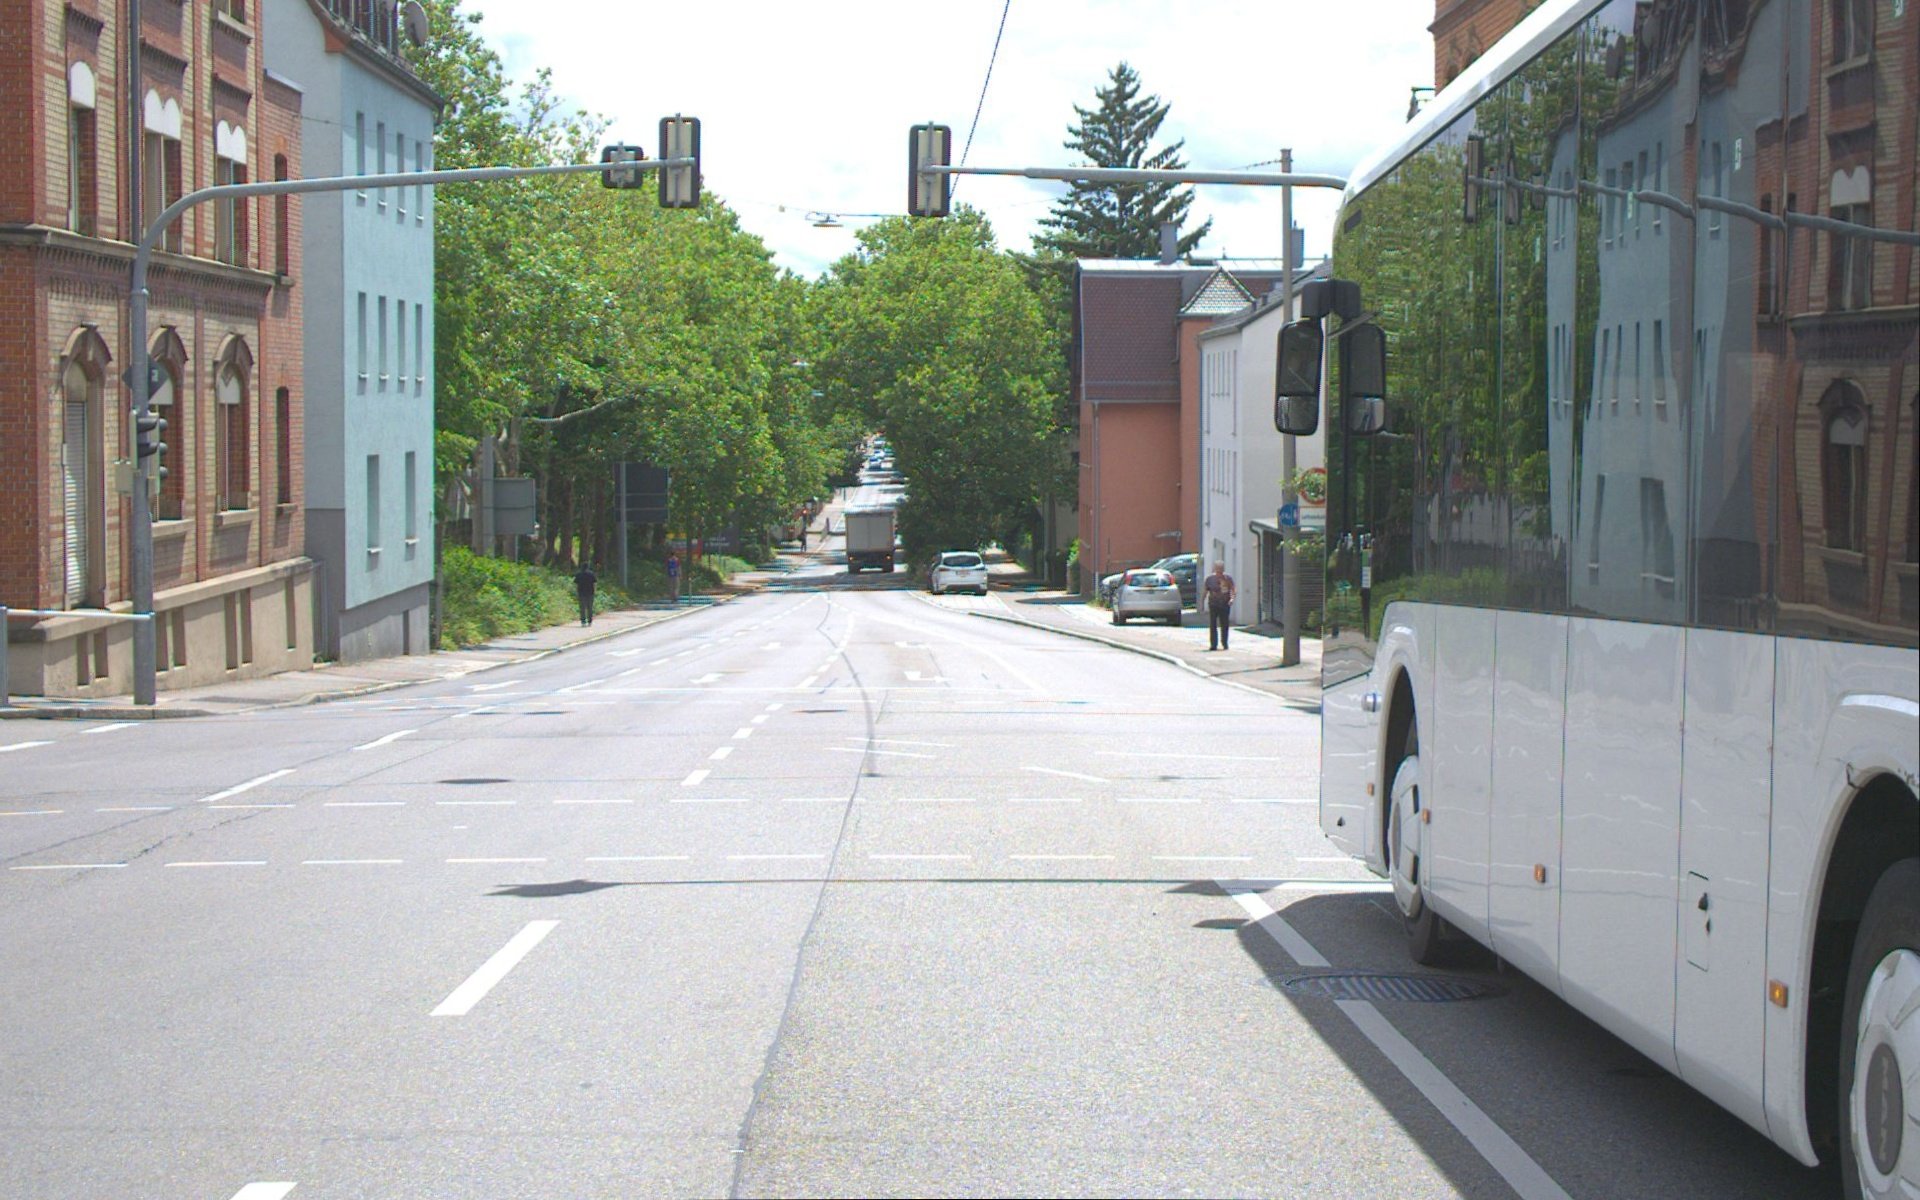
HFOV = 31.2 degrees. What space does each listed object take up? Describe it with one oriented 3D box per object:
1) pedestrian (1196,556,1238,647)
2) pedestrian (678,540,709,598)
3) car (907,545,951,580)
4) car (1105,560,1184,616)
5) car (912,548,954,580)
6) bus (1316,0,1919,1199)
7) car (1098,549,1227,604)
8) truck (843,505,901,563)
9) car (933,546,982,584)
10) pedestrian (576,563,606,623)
[{"bbox_3d":[5.036,0.024,67.293,0.738,1.744,0.619,-1,1,-1],"label":"pedestrian"},{"bbox_3d":[-9.261,-1.094,119.514,0.995,2.007,1.189,-1,1,-1],"label":"pedestrian"},{"bbox_3d":[-1.296,-1.593,145.767,1.794,1.405,4.419,1,1,0],"label":"car"},{"bbox_3d":[4.978,-0.337,93.072,1.794,1.405,4.001,-1,1,-2],"label":"car"},{"bbox_3d":[-1.197,-1.600,153.933,1.794,1.405,4.419,1,1,0],"label":"car"},{"bbox_3d":[3.007,-0.217,9.236,2.672,3.145,12.462,-1,1,-1],"label":"bus"},{"bbox_3d":[6.652,-0.789,113.170,3.986,1.751,2.000,-1,1,-5],"label":"car"},{"bbox_3d":[-4.838,-3.625,188.133,2.926,3.070,7.886,-1,1,-3],"label":"truck"},{"bbox_3d":[-0.118,-1.317,129.525,1.794,1.405,4.000,1,1,-1],"label":"car"},{"bbox_3d":[-9.598,-0.179,89.427,0.729,1.560,0.561,0,1,-1],"label":"pedestrian"}]
